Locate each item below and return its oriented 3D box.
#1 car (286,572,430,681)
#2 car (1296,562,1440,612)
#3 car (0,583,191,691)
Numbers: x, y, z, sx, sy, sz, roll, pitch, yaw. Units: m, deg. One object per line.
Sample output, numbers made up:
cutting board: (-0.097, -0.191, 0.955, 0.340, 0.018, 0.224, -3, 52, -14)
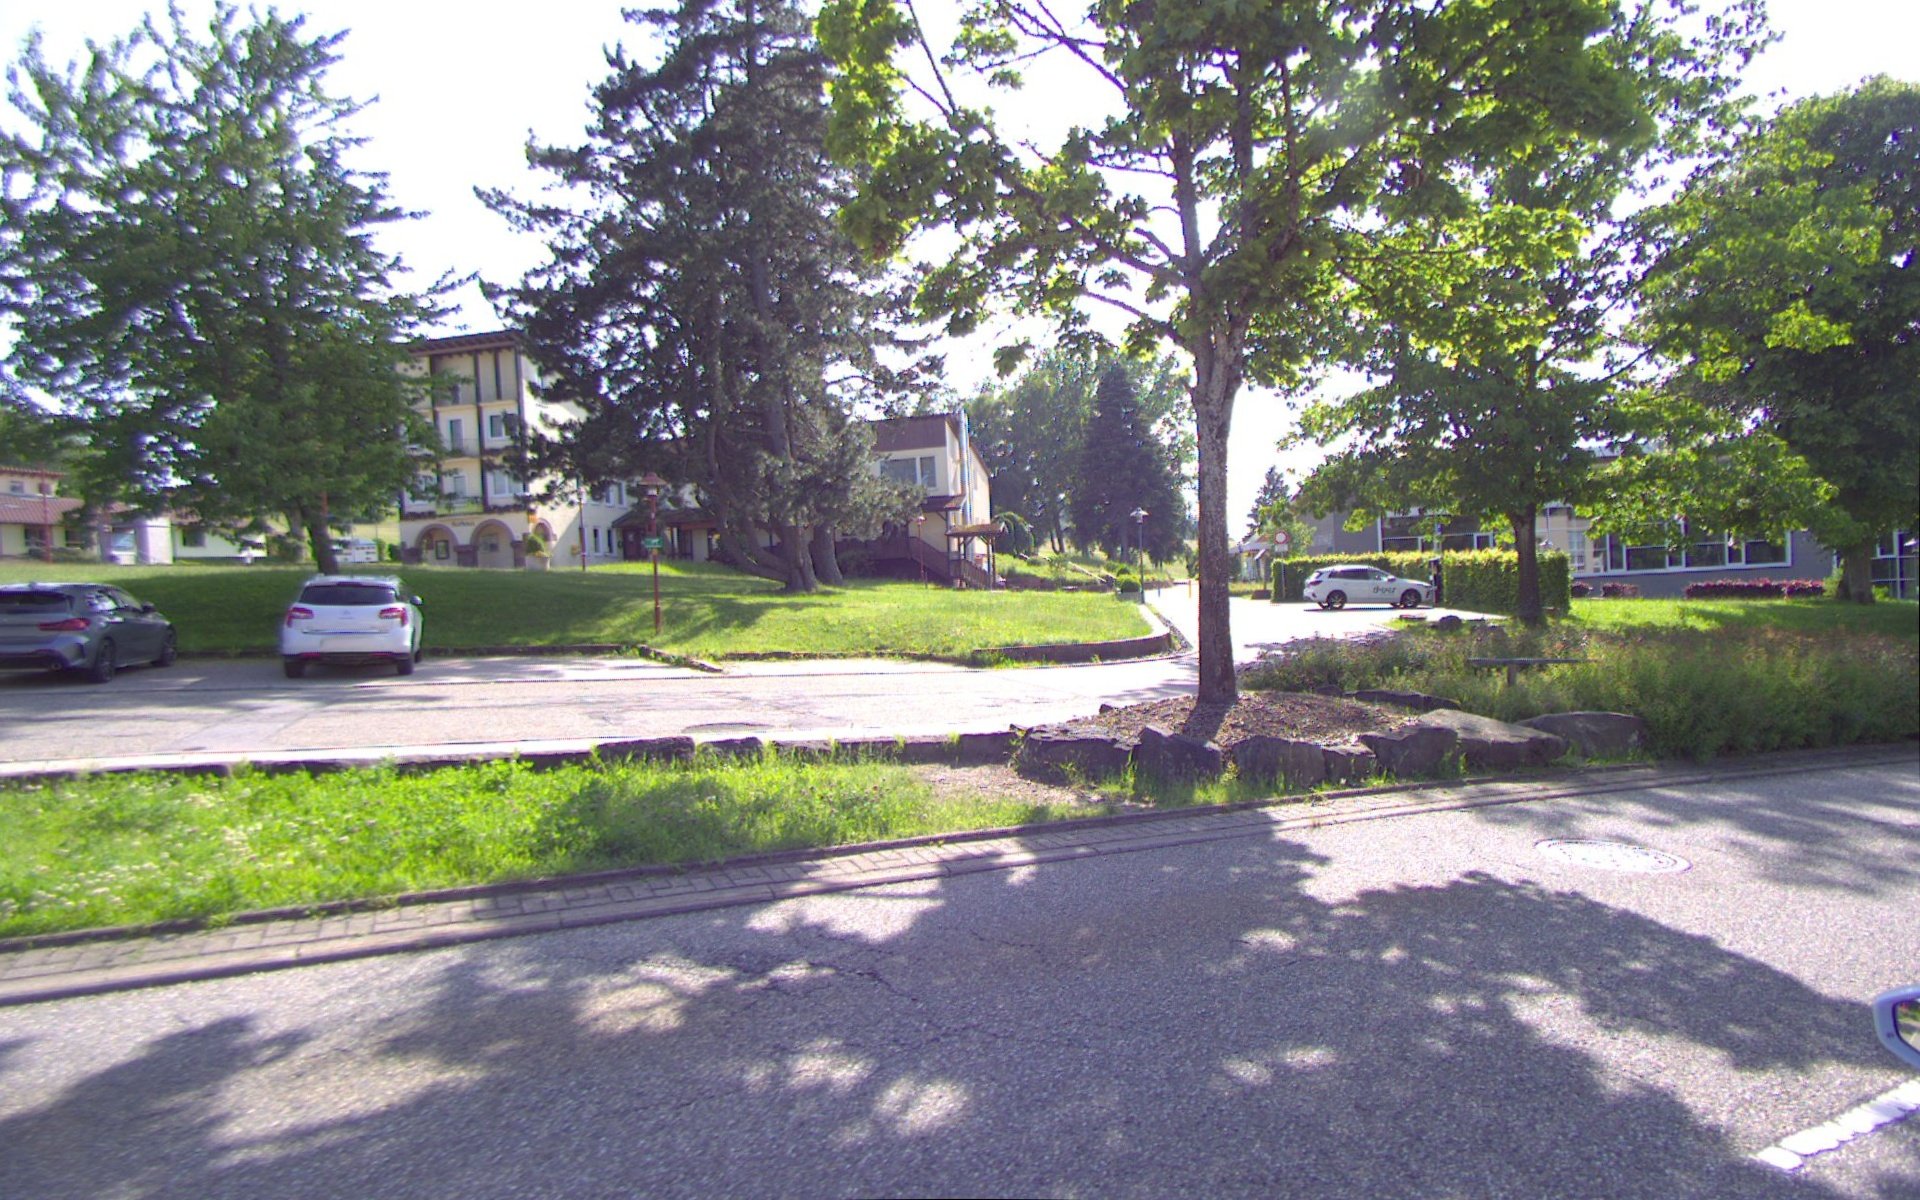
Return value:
car: (-10.193, 0.381, 17.265, 1.752, 1.631, 3.916, 1, 1, -26)
car: (15.188, -0.499, 37.611, 4.635, 1.555, 2.000, -2, 4, 7)
car: (-13.582, 0.483, 15.460, 1.750, 1.453, 3.695, 1, 1, -21)
